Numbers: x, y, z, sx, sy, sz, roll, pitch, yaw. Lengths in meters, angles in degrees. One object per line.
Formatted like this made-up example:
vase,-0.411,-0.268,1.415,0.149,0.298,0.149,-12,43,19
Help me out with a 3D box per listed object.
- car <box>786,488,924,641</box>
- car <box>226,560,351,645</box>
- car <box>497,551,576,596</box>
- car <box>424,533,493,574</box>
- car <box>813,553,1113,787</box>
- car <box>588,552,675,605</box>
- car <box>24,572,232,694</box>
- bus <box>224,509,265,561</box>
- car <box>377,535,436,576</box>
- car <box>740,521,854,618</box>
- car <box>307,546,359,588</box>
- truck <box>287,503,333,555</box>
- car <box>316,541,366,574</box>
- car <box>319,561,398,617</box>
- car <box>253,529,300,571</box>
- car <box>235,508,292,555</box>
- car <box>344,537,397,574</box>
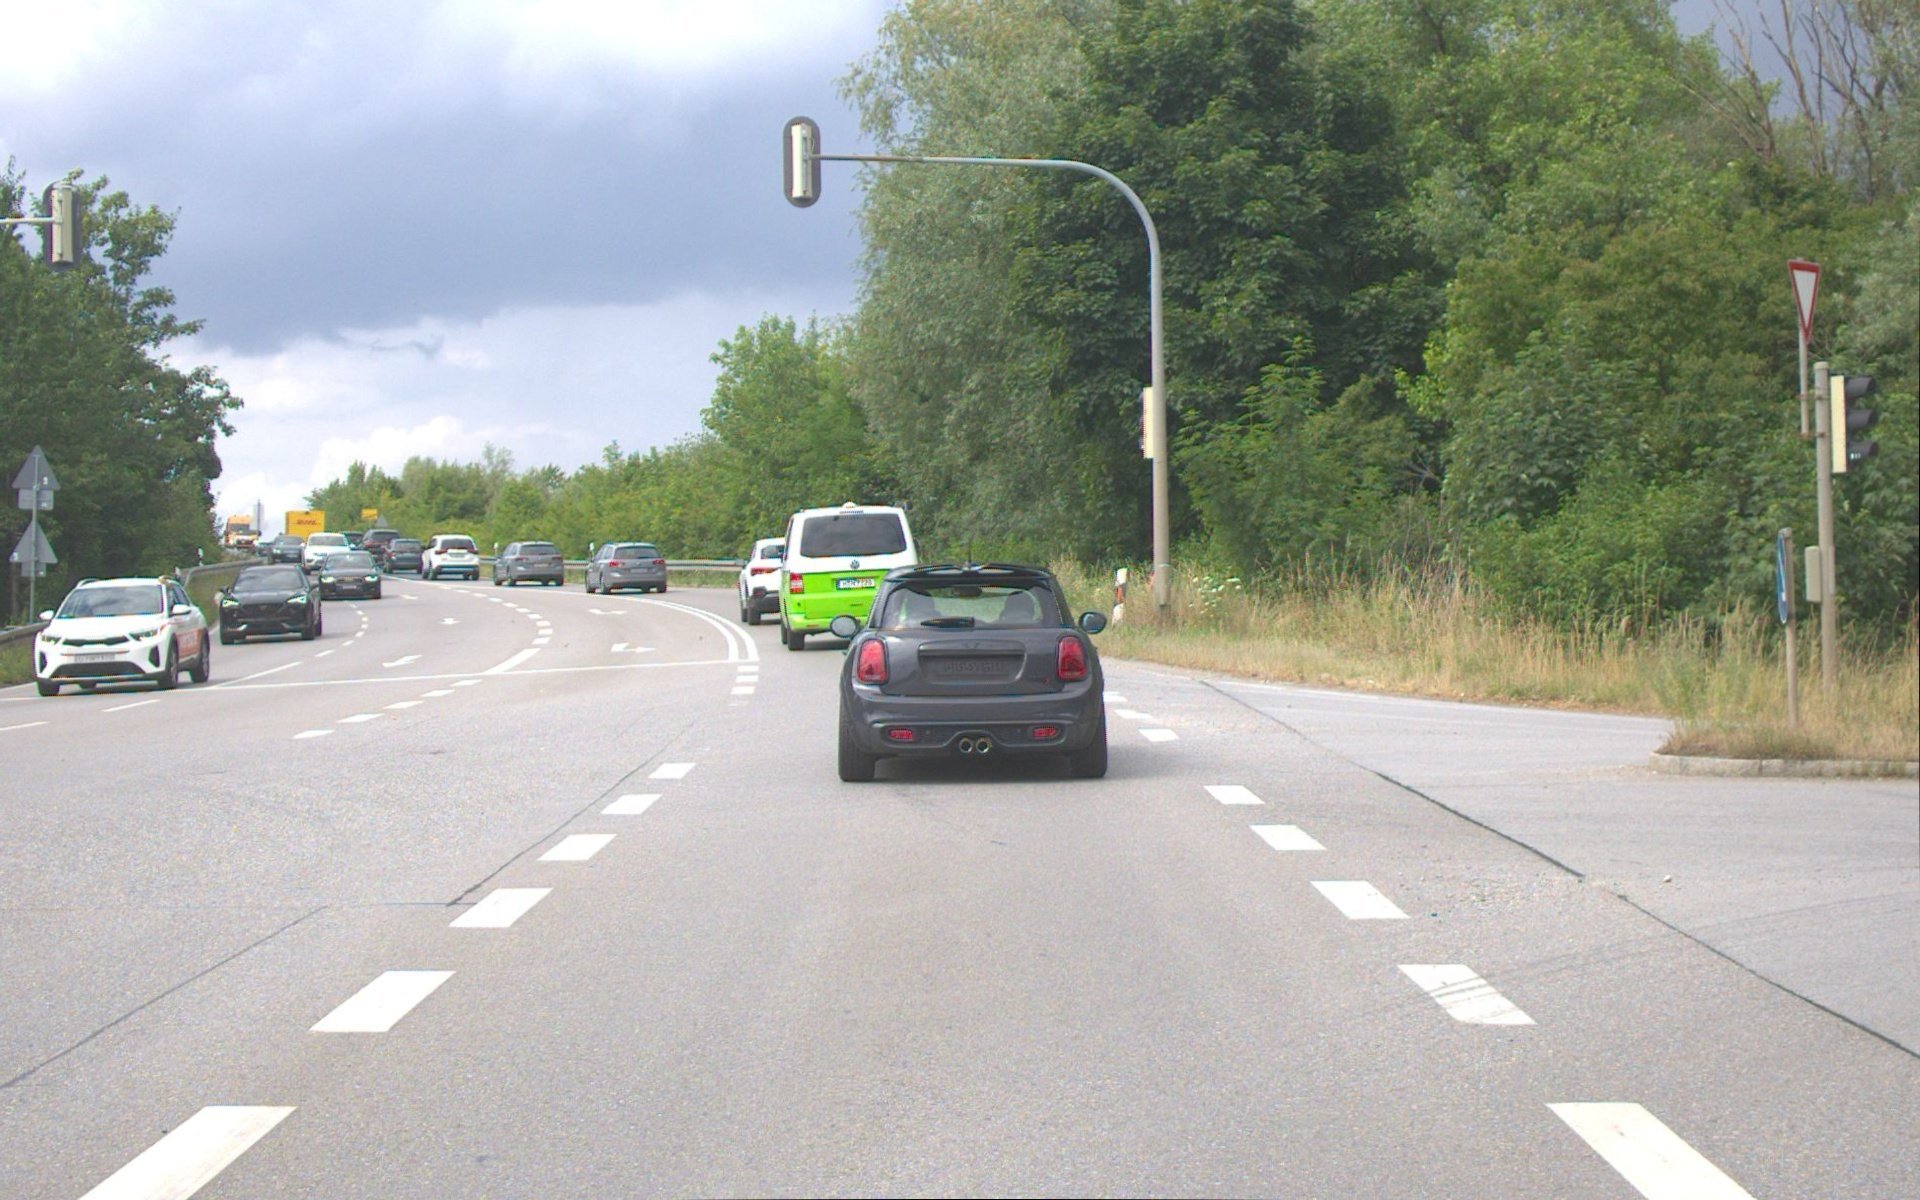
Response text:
car,-1.488,-0.543,48.305,1.845,1.980,3.842,0,3,-2
car,-13.573,0.025,69.684,1.762,1.577,4.203,-3,1,-2
car,-14.035,-0.863,113.786,1.993,1.471,4.487,0,0,-15
car,-18.796,-1.725,128.625,1.993,1.471,4.487,0,0,-16
car,-0.060,0.424,23.471,1.845,1.423,3.841,-1,0,-3
car,-9.283,-0.602,96.859,1.993,1.471,4.487,0,0,-11
car,-11.044,0.403,45.905,1.729,1.499,4.347,-1,1,-1
bus,-46.021,-4.197,220.945,1.993,3.291,7.431,-1,2,-16
car,-23.531,-1.894,146.067,1.993,1.690,4.487,0,0,-15
car,-2.994,-0.561,62.924,1.993,1.678,4.000,-1,0,-3
car,-25.032,-1.329,137.343,1.993,1.607,4.001,-1,2,-10
truck,-40.912,-4.422,216.113,2.716,2.888,8.772,0,-1,-11
car,-32.342,-2.213,179.584,1.993,1.690,4.487,0,0,-17
car,-17.717,-0.347,101.418,1.737,1.401,4.251,-6,2,-4
car,-32.810,-2.394,165.002,1.993,2.007,4.001,0,1,-14
car,-26.178,-2.571,129.135,1.993,1.684,4.001,-1,2,-13
car,-27.636,-2.082,160.981,1.993,1.690,4.487,0,0,-15
